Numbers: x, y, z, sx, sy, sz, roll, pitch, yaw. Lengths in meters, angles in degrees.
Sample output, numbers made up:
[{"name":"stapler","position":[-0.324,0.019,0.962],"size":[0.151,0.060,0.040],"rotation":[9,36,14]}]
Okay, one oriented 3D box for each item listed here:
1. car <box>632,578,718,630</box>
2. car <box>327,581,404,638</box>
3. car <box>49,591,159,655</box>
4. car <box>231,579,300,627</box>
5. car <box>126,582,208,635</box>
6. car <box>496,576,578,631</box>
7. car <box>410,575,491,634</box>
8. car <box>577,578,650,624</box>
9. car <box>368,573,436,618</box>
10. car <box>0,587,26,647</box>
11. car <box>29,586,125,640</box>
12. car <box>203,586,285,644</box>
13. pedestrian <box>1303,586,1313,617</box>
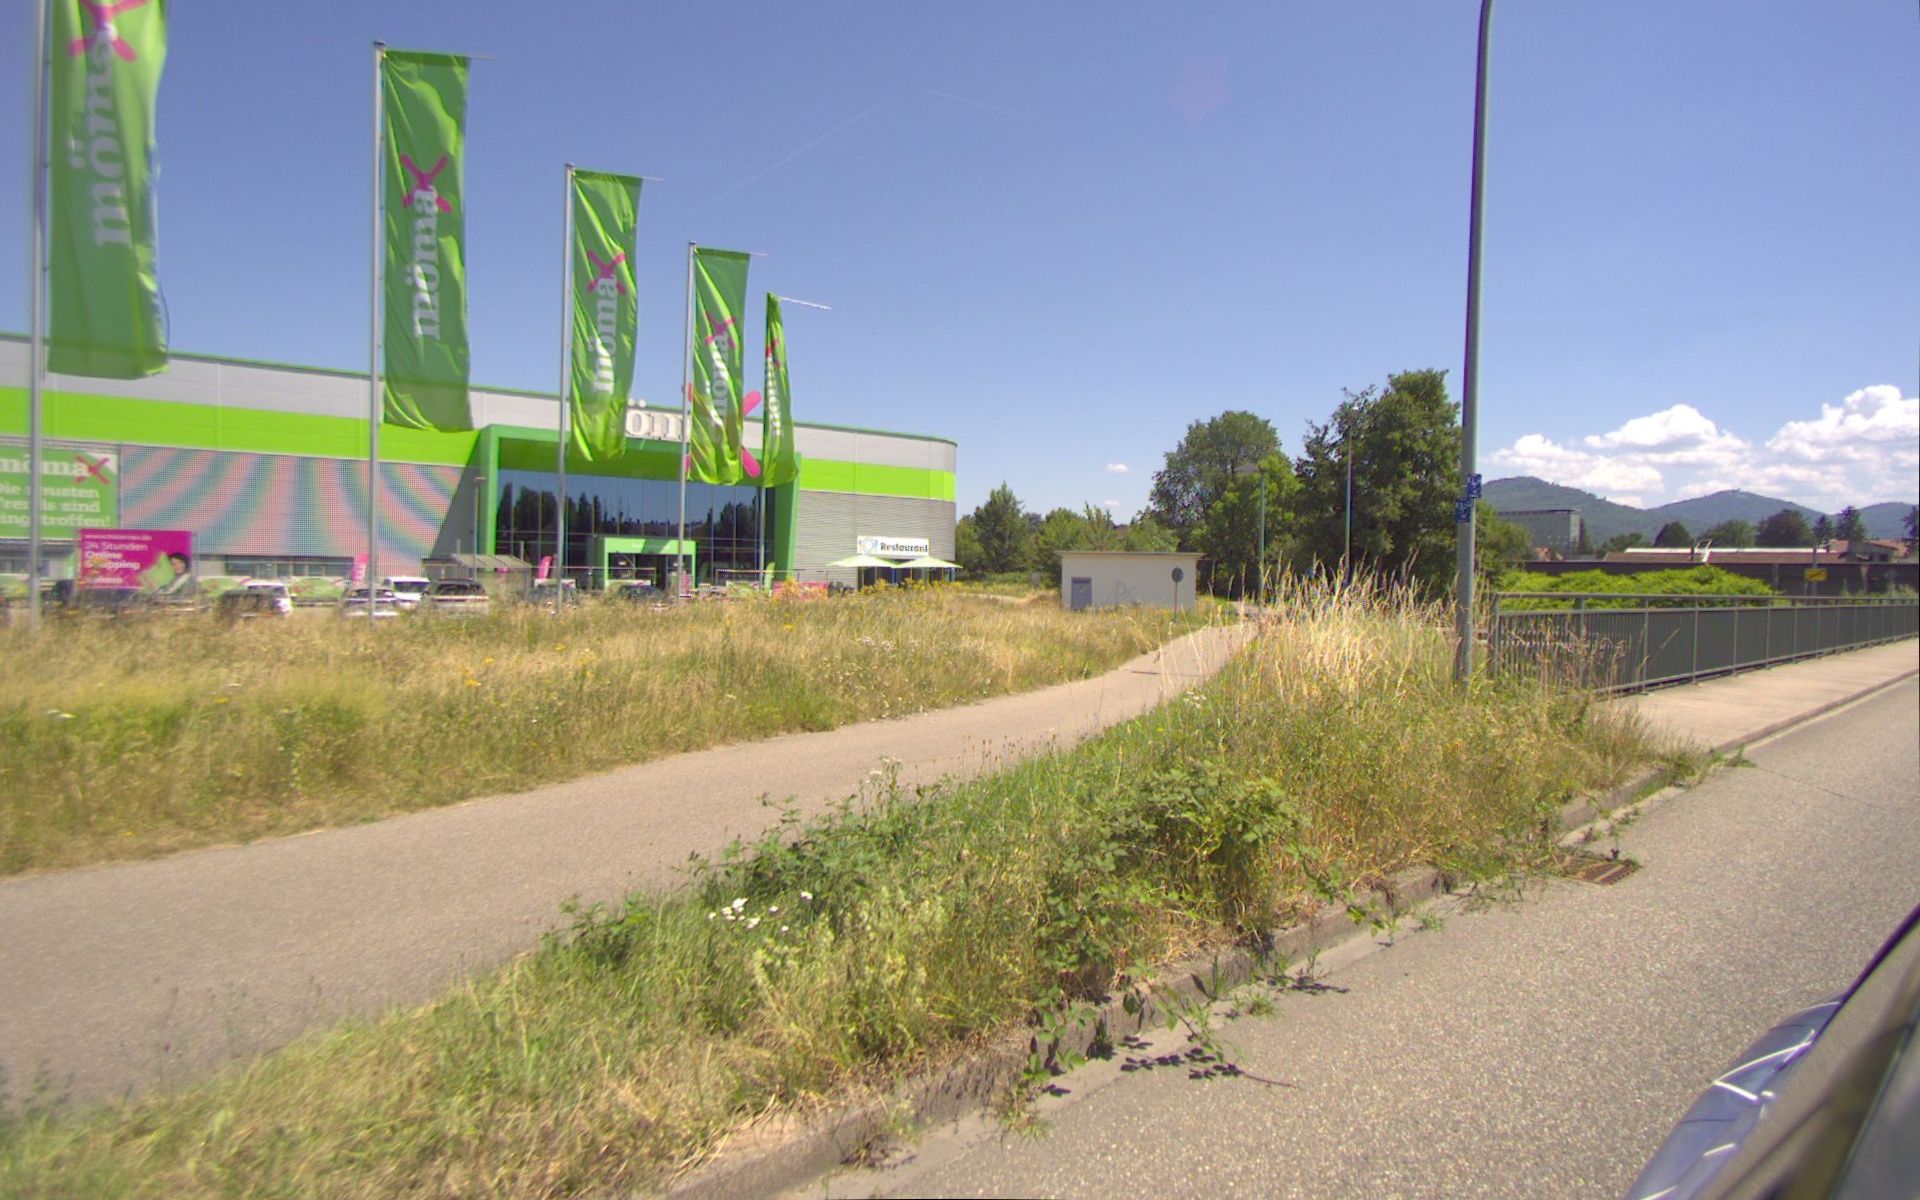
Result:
[{"name":"car","position":[-10.559,0.102,37.339],"size":[1.879,1.674,4.002],"rotation":[-2,3,-34]},{"name":"car","position":[-19.334,0.245,32.841],"size":[1.879,1.566,4.002],"rotation":[-2,3,-34]},{"name":"car","position":[-24.122,0.574,28.668],"size":[1.910,1.479,4.002],"rotation":[-2,3,-34]},{"name":"car","position":[-25.120,0.057,36.656],"size":[1.910,1.523,4.002],"rotation":[-2,3,-34]},{"name":"car","position":[-27.155,0.236,34.785],"size":[1.910,1.523,4.002],"rotation":[-2,3,-34]},{"name":"car","position":[-14.898,0.064,35.518],"size":[1.879,1.674,4.002],"rotation":[-2,3,-34]},{"name":"car","position":[-17.118,0.090,33.921],"size":[1.879,1.717,4.002],"rotation":[-2,3,-34]},{"name":"car","position":[-14.461,-0.014,42.086],"size":[1.879,1.674,4.002],"rotation":[-2,3,-34]},{"name":"car","position":[-21.693,-0.235,39.273],"size":[1.910,1.523,4.002],"rotation":[-2,3,-34]},{"name":"car","position":[-26.722,0.476,27.087],"size":[1.910,1.479,4.002],"rotation":[-2,3,-34]},{"name":"car","position":[-29.370,0.372,33.791],"size":[1.910,1.523,4.002],"rotation":[-2,3,-34]},{"name":"car","position":[-21.766,0.384,30.869],"size":[1.879,1.479,4.002],"rotation":[-2,3,-34]},{"name":"pedestrian","position":[17.403,0.078,50.635],"size":[0.434,1.558,0.410],"rotation":[0,-2,25]}]
